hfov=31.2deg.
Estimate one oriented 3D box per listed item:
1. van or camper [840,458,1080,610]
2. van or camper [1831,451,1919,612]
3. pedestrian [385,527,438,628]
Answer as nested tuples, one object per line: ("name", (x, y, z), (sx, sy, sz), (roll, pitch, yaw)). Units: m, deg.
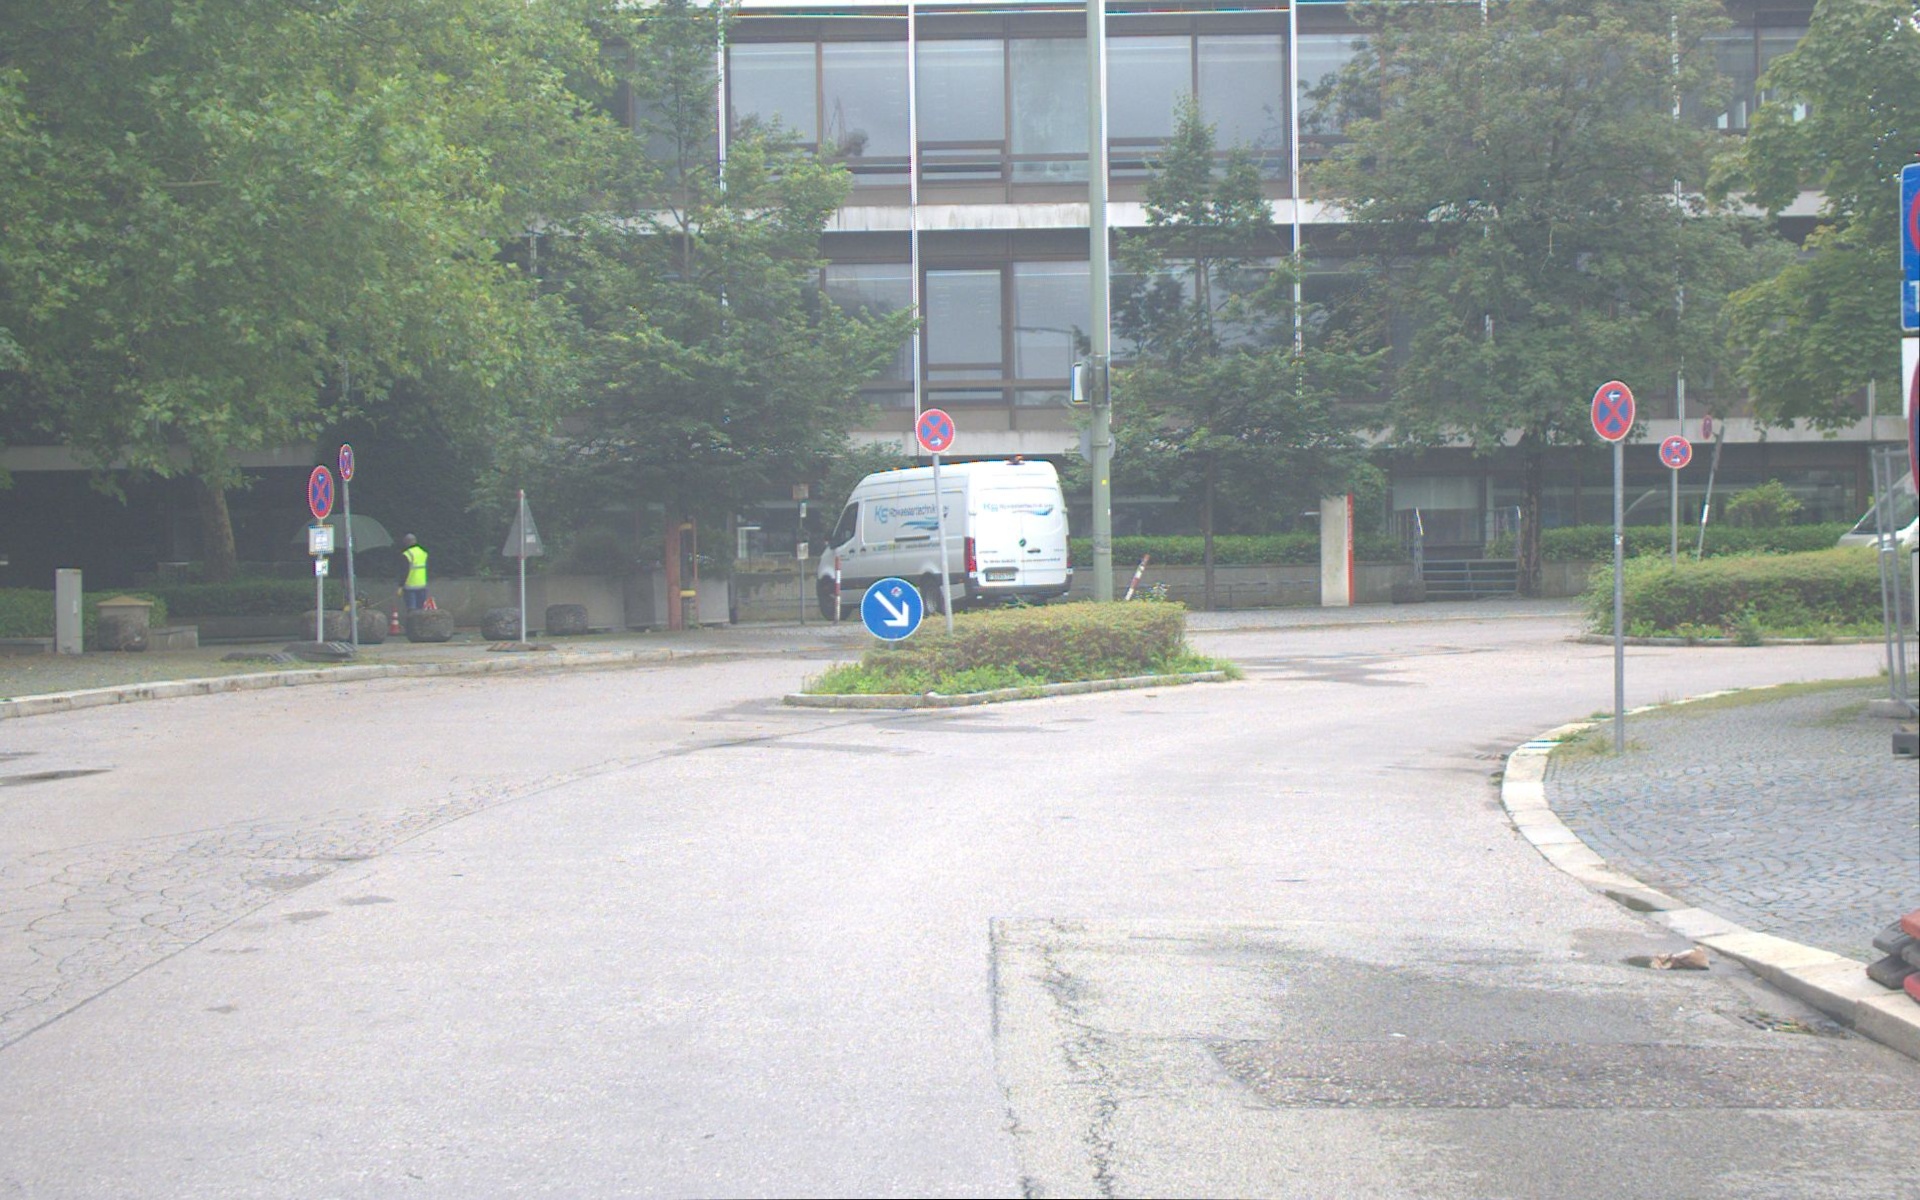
("van or camper", (-0.057, -1.122, 58.988), (2.085, 2.483, 5.068), (-1, 1, -26))
("van or camper", (16.869, -1.150, 56.500), (4.449, 2.577, 2.109), (-1, 1, -11))
("pedestrian", (-9.201, -0.376, 57.683), (0.741, 1.671, 0.682), (-1, 1, -20))
